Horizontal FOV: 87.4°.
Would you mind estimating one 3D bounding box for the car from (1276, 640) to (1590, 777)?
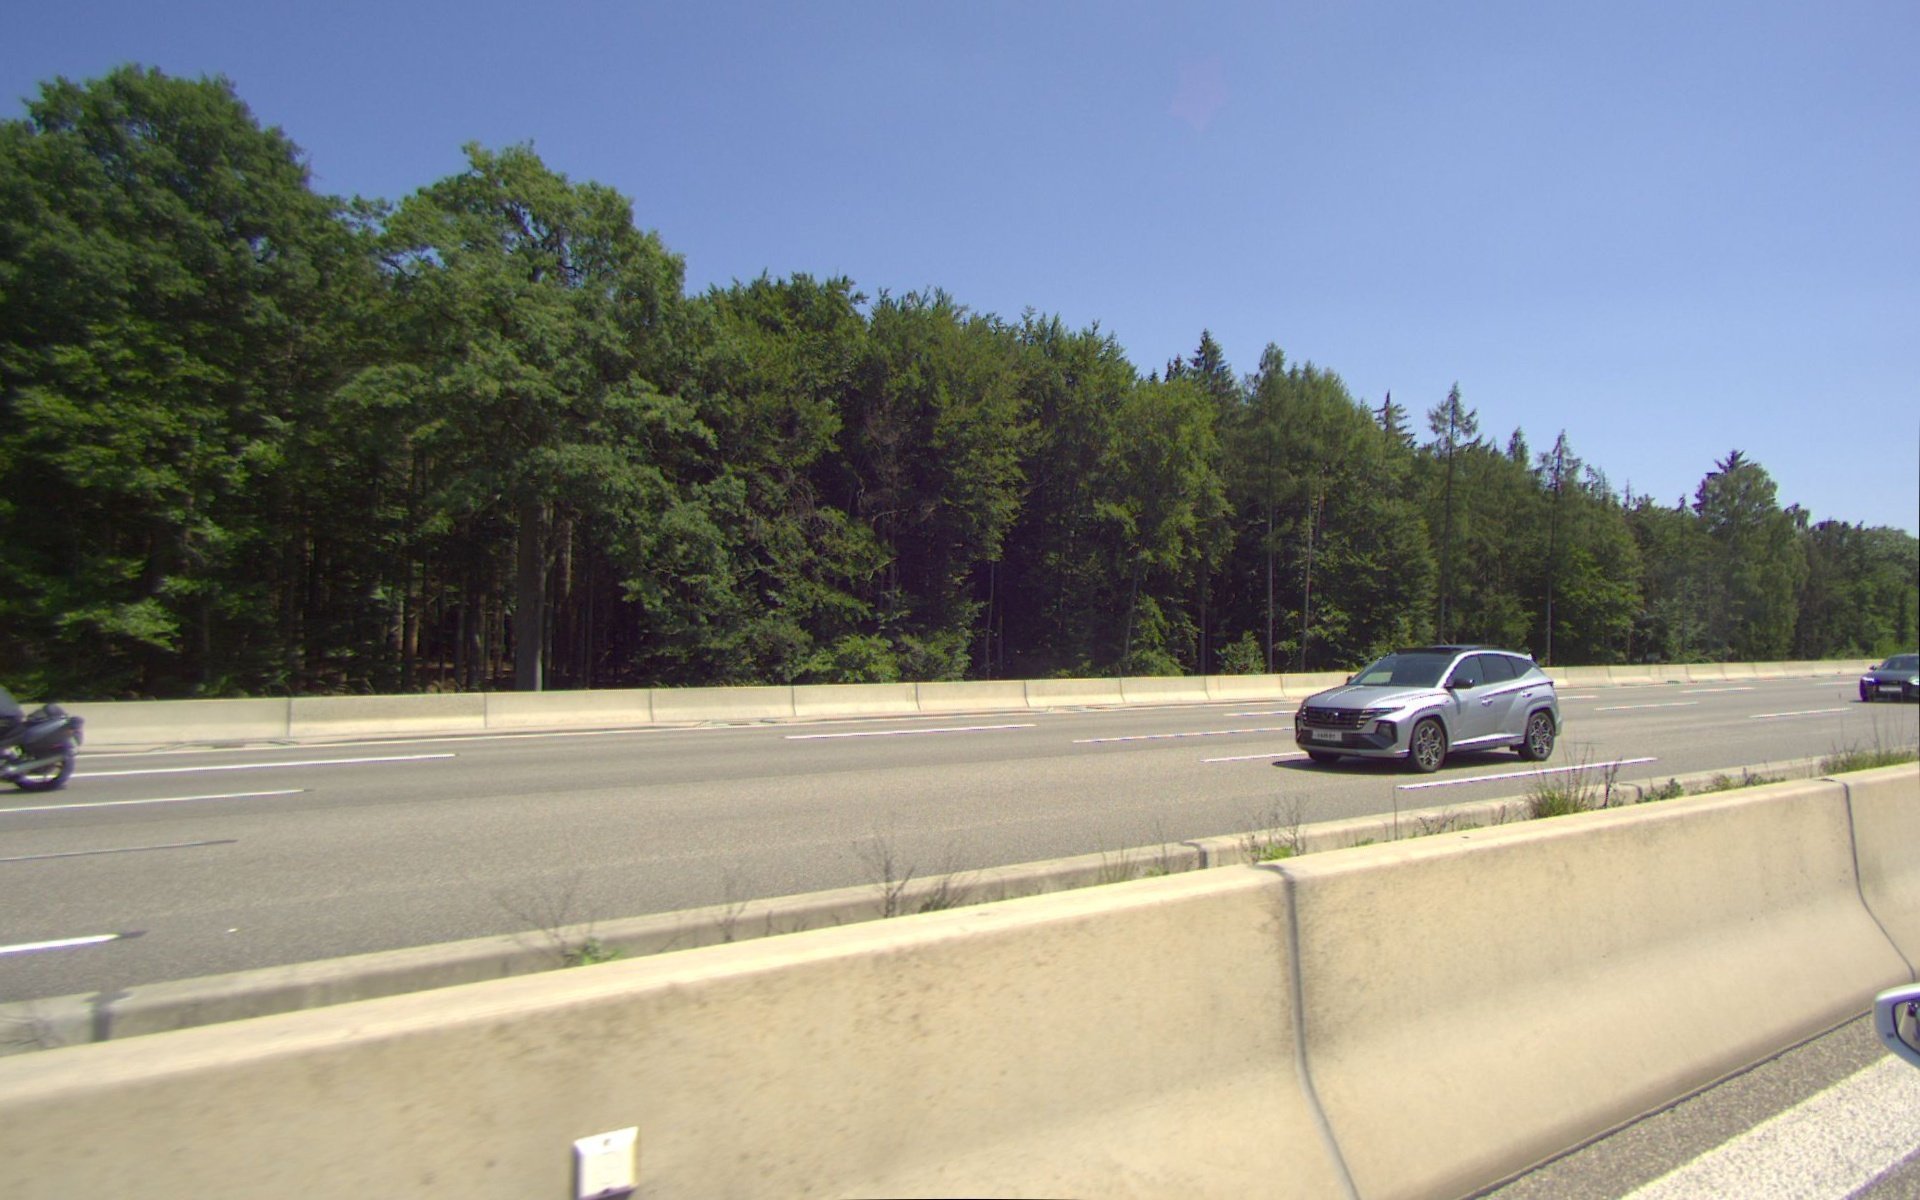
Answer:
[{"bbox_3d":[7.015,1.477,14.839,4.453,1.746,1.963,1,-3,-29],"label":"car"}]

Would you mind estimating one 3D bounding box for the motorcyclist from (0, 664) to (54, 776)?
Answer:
[{"bbox_3d":[-11.767,1.438,12.111,1.065,1.318,0.757,2,-3,-30],"label":"motorcyclist"}]

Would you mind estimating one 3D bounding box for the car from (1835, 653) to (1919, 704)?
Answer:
[{"bbox_3d":[28.782,2.326,30.466,4.986,1.367,1.913,1,-2,-30],"label":"car"}]

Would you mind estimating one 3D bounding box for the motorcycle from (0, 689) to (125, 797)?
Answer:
[{"bbox_3d":[-11.688,1.723,12.137,2.322,1.230,0.734,2,-3,-30],"label":"motorcycle"}]
